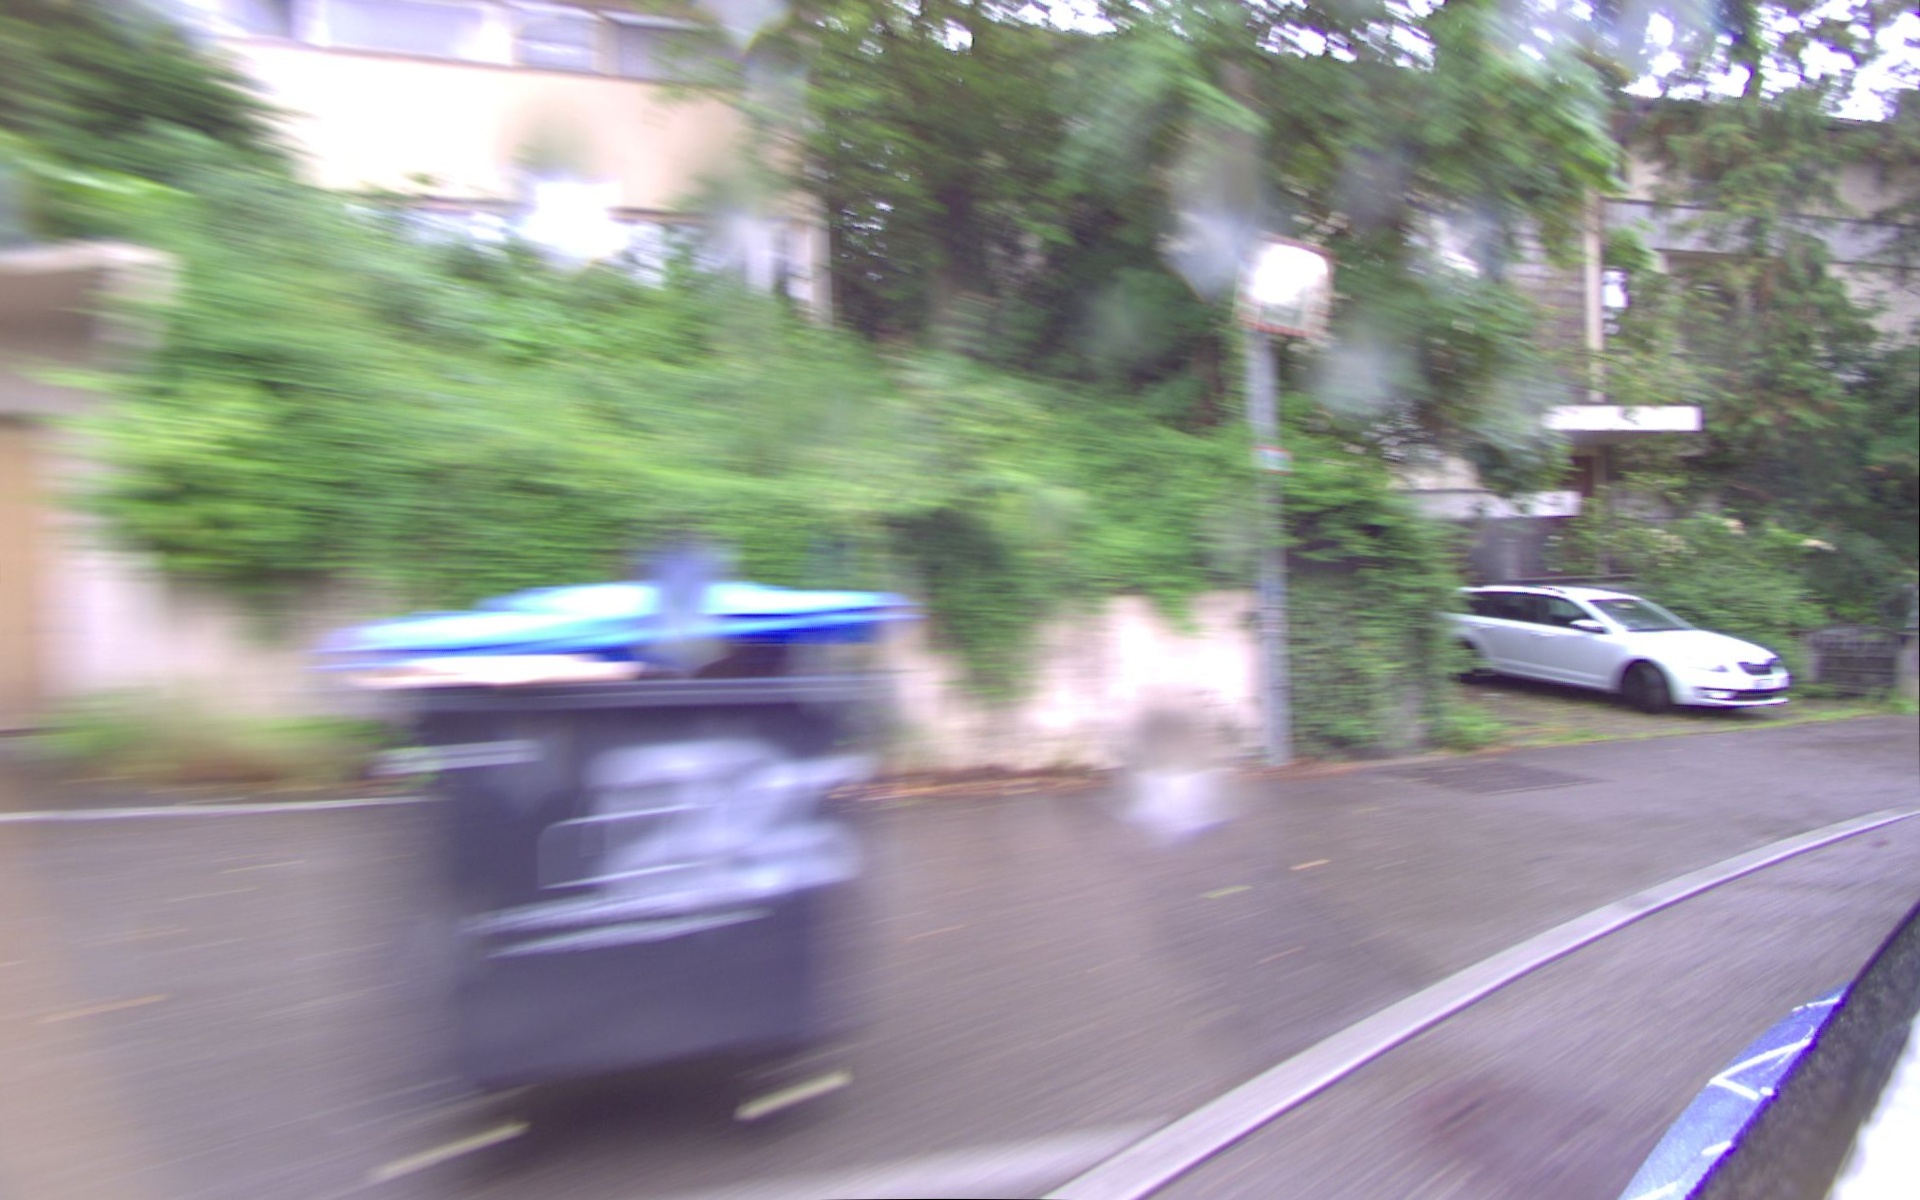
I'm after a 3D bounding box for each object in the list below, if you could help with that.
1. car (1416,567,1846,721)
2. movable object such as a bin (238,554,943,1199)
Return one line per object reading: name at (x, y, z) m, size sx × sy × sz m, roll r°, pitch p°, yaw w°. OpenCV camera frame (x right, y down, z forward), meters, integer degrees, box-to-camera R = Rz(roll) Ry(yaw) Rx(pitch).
car at (8.863, 0.434, 13.947) m, size 1.958 × 1.572 × 4.577 m, roll 0°, pitch 4°, yaw -21°
movable object such as a bin at (-0.945, 0.613, 2.790) m, size 1.453 × 1.426 × 1.162 m, roll 1°, pitch 3°, yaw -21°
